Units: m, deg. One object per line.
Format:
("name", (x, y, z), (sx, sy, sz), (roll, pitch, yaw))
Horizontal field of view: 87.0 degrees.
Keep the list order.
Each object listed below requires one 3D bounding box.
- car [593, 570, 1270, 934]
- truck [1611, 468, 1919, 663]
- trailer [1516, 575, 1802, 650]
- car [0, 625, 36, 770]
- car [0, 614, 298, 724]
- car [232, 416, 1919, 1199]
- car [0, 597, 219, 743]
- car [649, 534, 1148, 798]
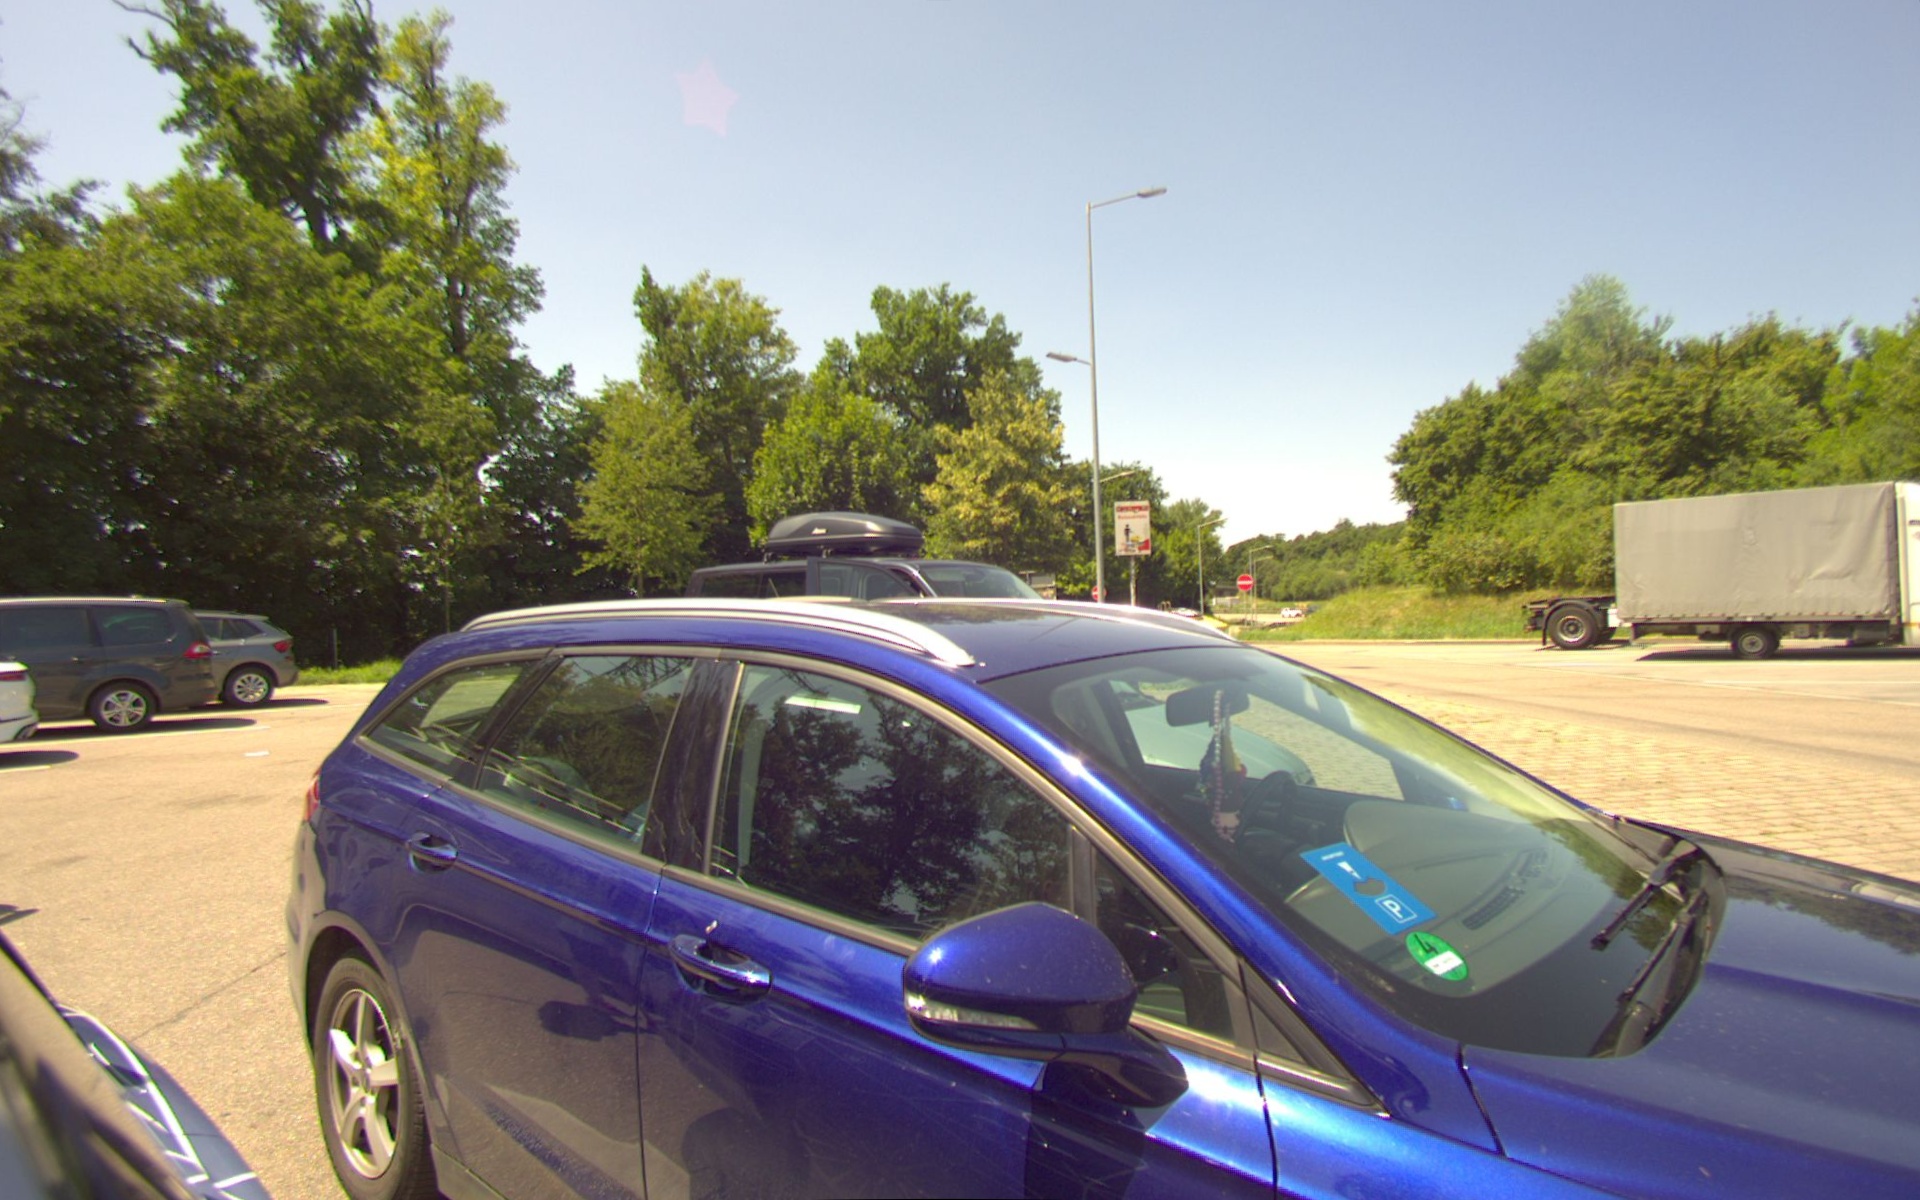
("car", (-0.363, 0.649, 5.784), (3.739, 1.424, 1.587), (-2, -1, 40))
("truck", (16.711, -0.616, 18.825), (7.308, 3.258, 2.294), (-5, -2, 43))
("trailer", (16.331, 0.349, 23.898), (5.393, 1.608, 1.576), (-2, -1, 41))
("car", (-10.958, 0.942, 9.175), (3.753, 1.377, 1.804), (0, -1, -45))
("car", (-12.595, 0.971, 15.589), (3.753, 1.488, 1.743), (0, -1, -45))
("car", (0.242, 0.649, 2.063), (4.426, 1.455, 1.763), (-2, -1, 40))
("car", (-11.713, 0.835, 12.563), (3.830, 1.703, 1.883), (0, -2, -45))
("car", (-0.731, 0.533, 9.395), (4.426, 1.875, 2.022), (-2, -1, 40))
